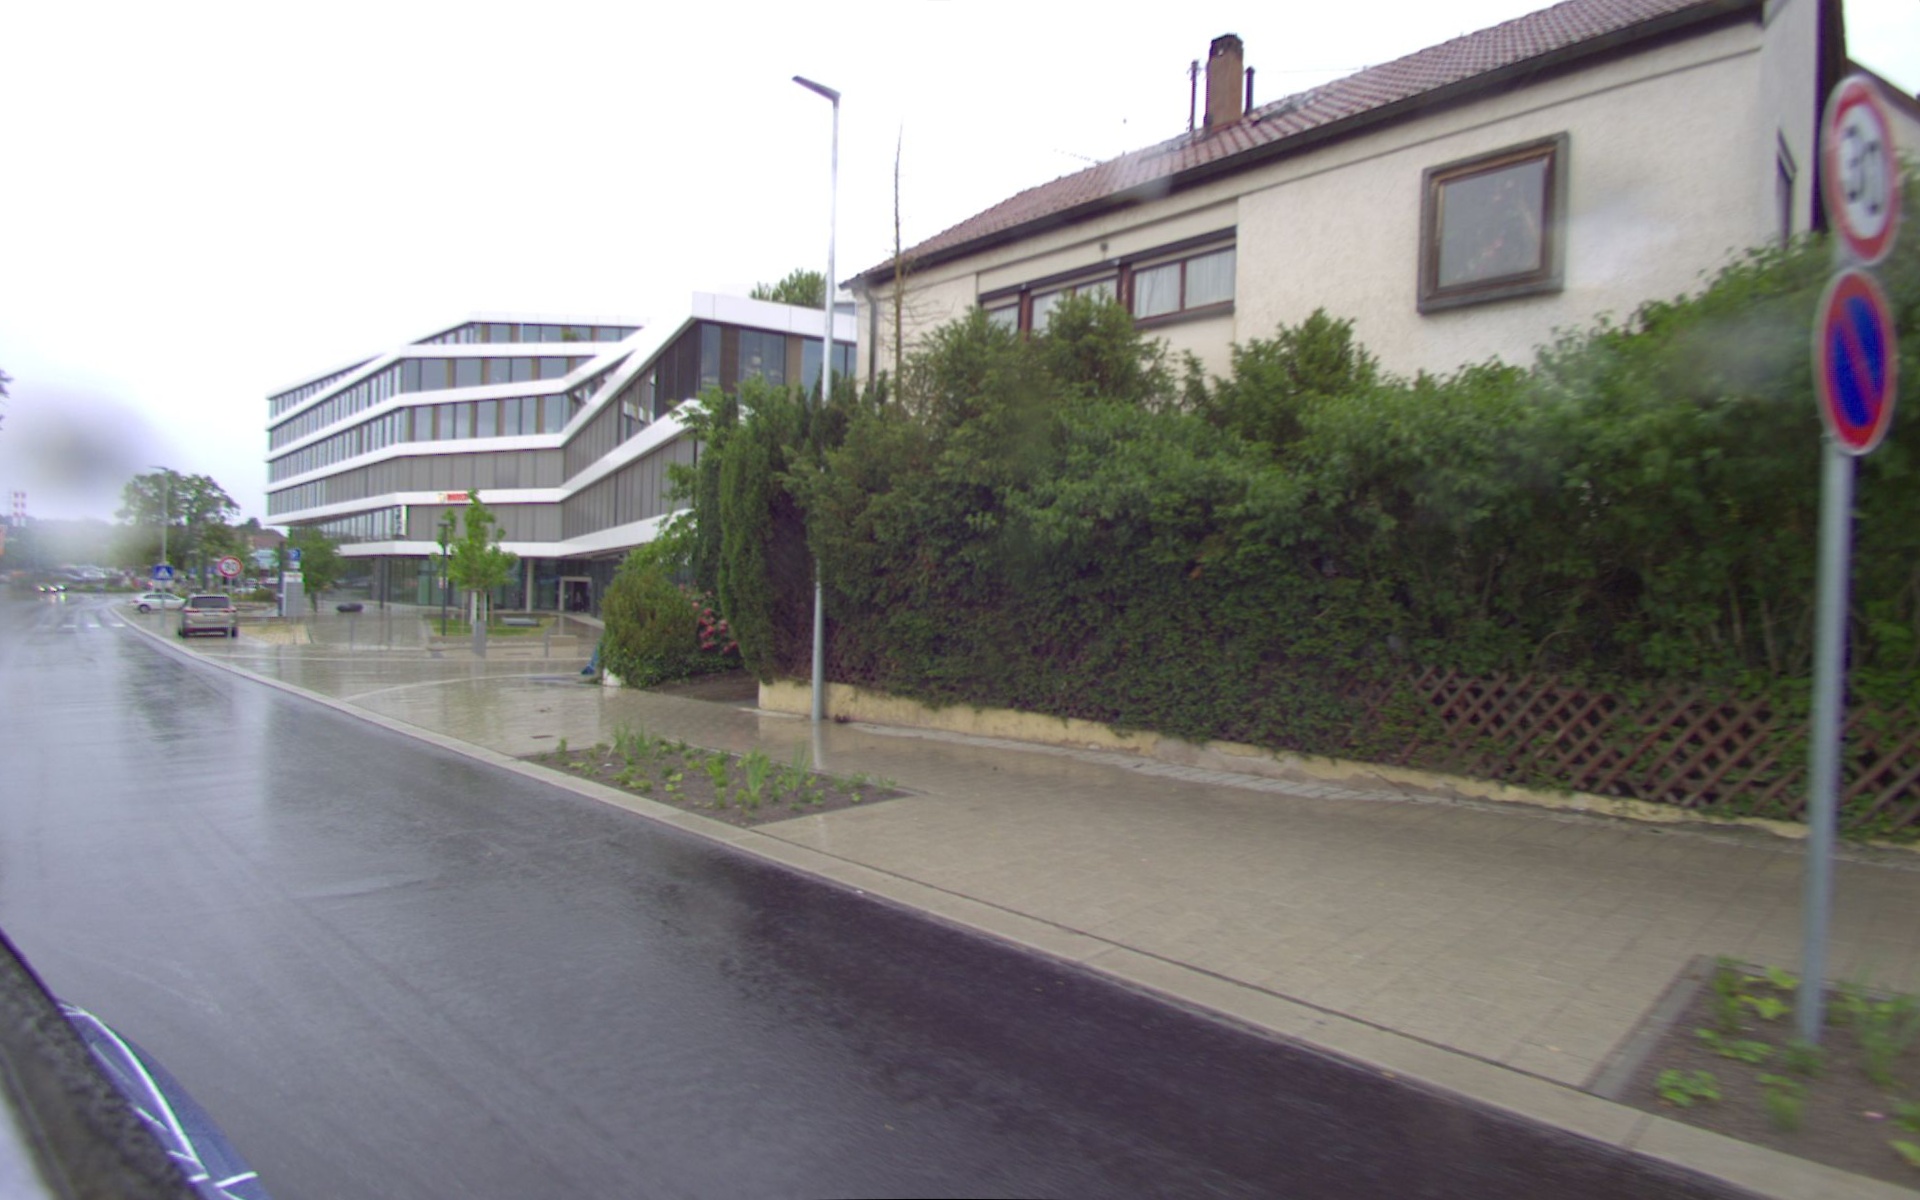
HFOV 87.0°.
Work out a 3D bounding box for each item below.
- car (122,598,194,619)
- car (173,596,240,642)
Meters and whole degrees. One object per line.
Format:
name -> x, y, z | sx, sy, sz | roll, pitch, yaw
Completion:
car -> -59.322, 0.635, 74.954 | 4.103, 1.430, 2.004 | -1, 1, -38
car -> -29.893, 0.699, 40.106 | 1.814, 1.718, 4.330 | 1, 0, -41
